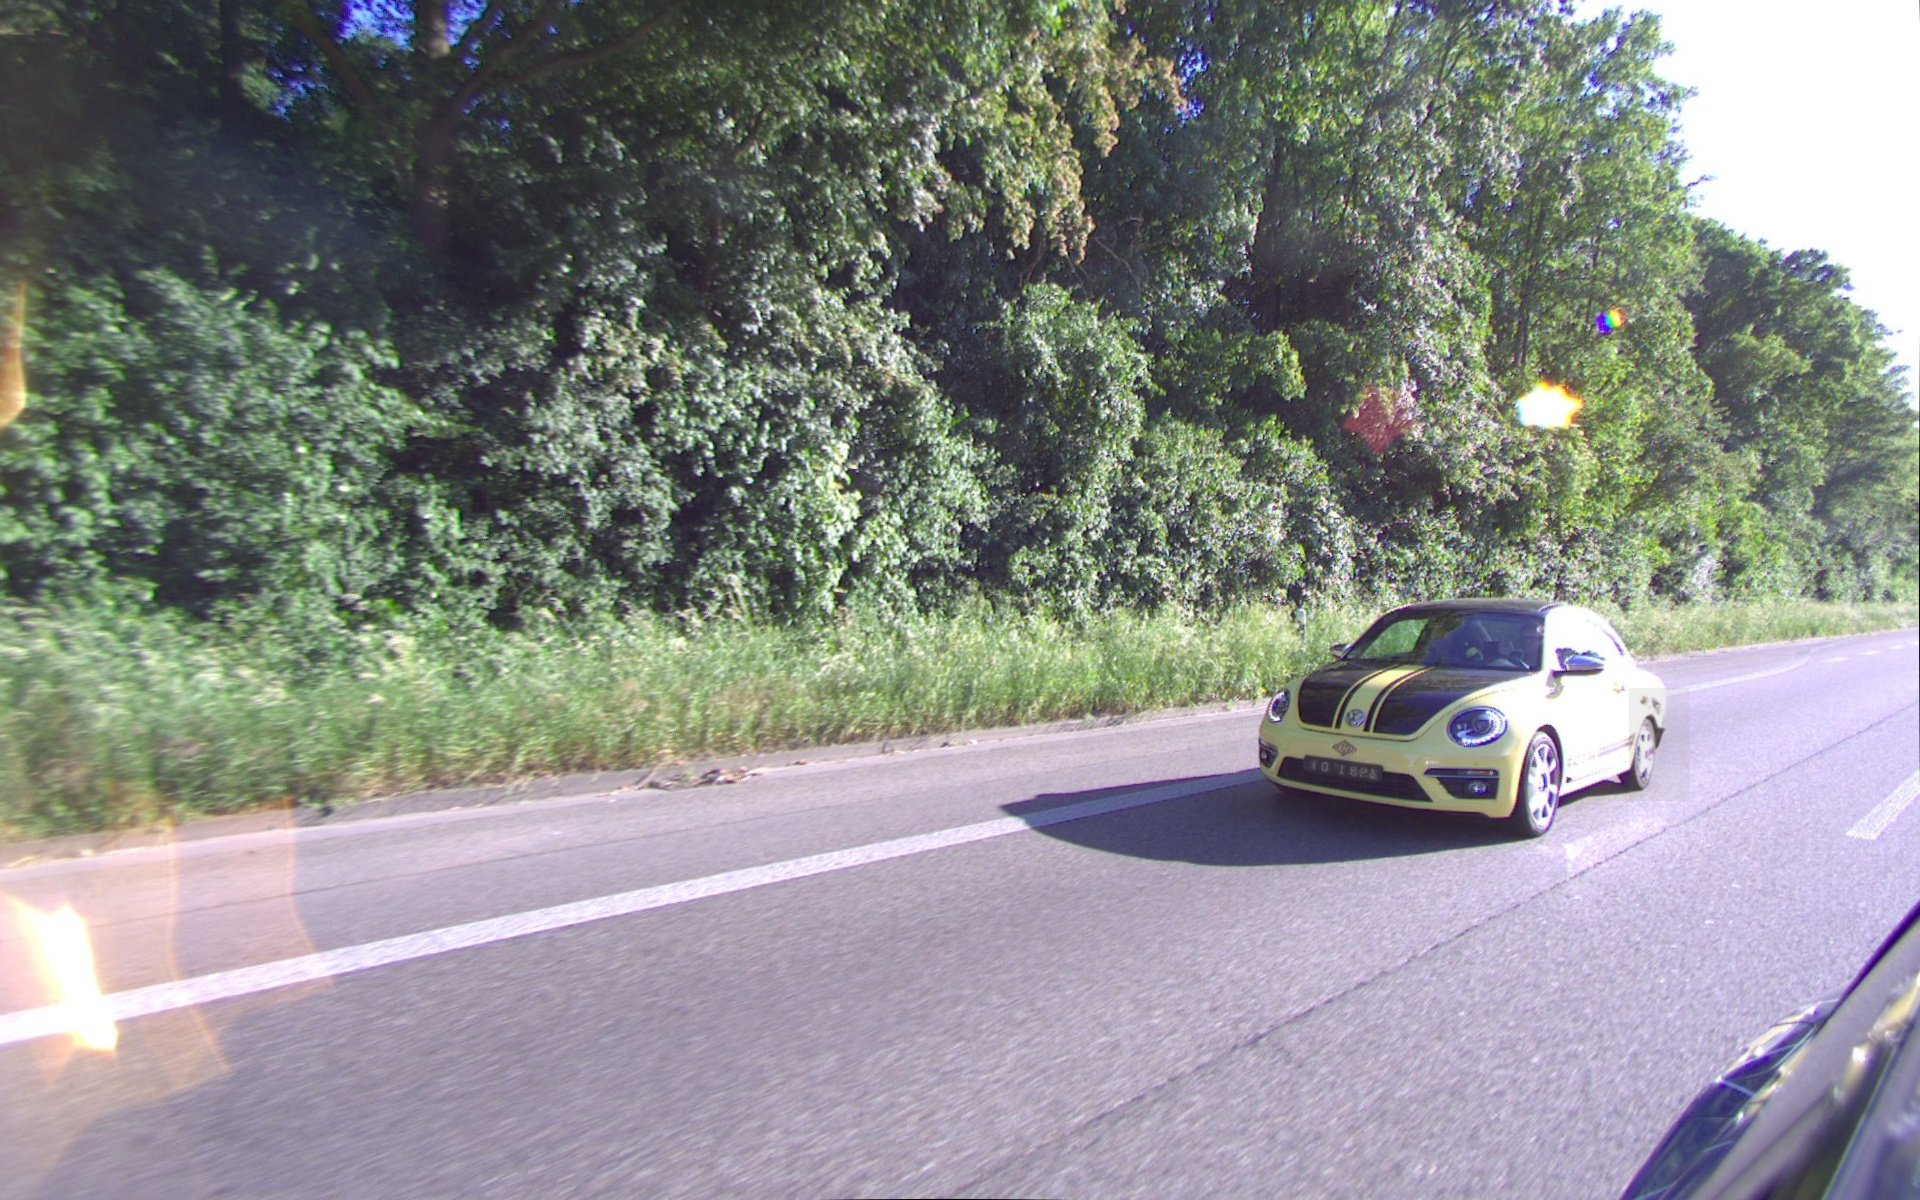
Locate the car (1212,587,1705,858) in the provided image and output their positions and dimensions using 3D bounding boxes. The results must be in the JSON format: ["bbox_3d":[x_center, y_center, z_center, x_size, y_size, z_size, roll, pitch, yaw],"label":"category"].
[{"bbox_3d":[3.970,0.667,7.717,4.280,1.480,1.883,0,1,-41],"label":"car"}]
